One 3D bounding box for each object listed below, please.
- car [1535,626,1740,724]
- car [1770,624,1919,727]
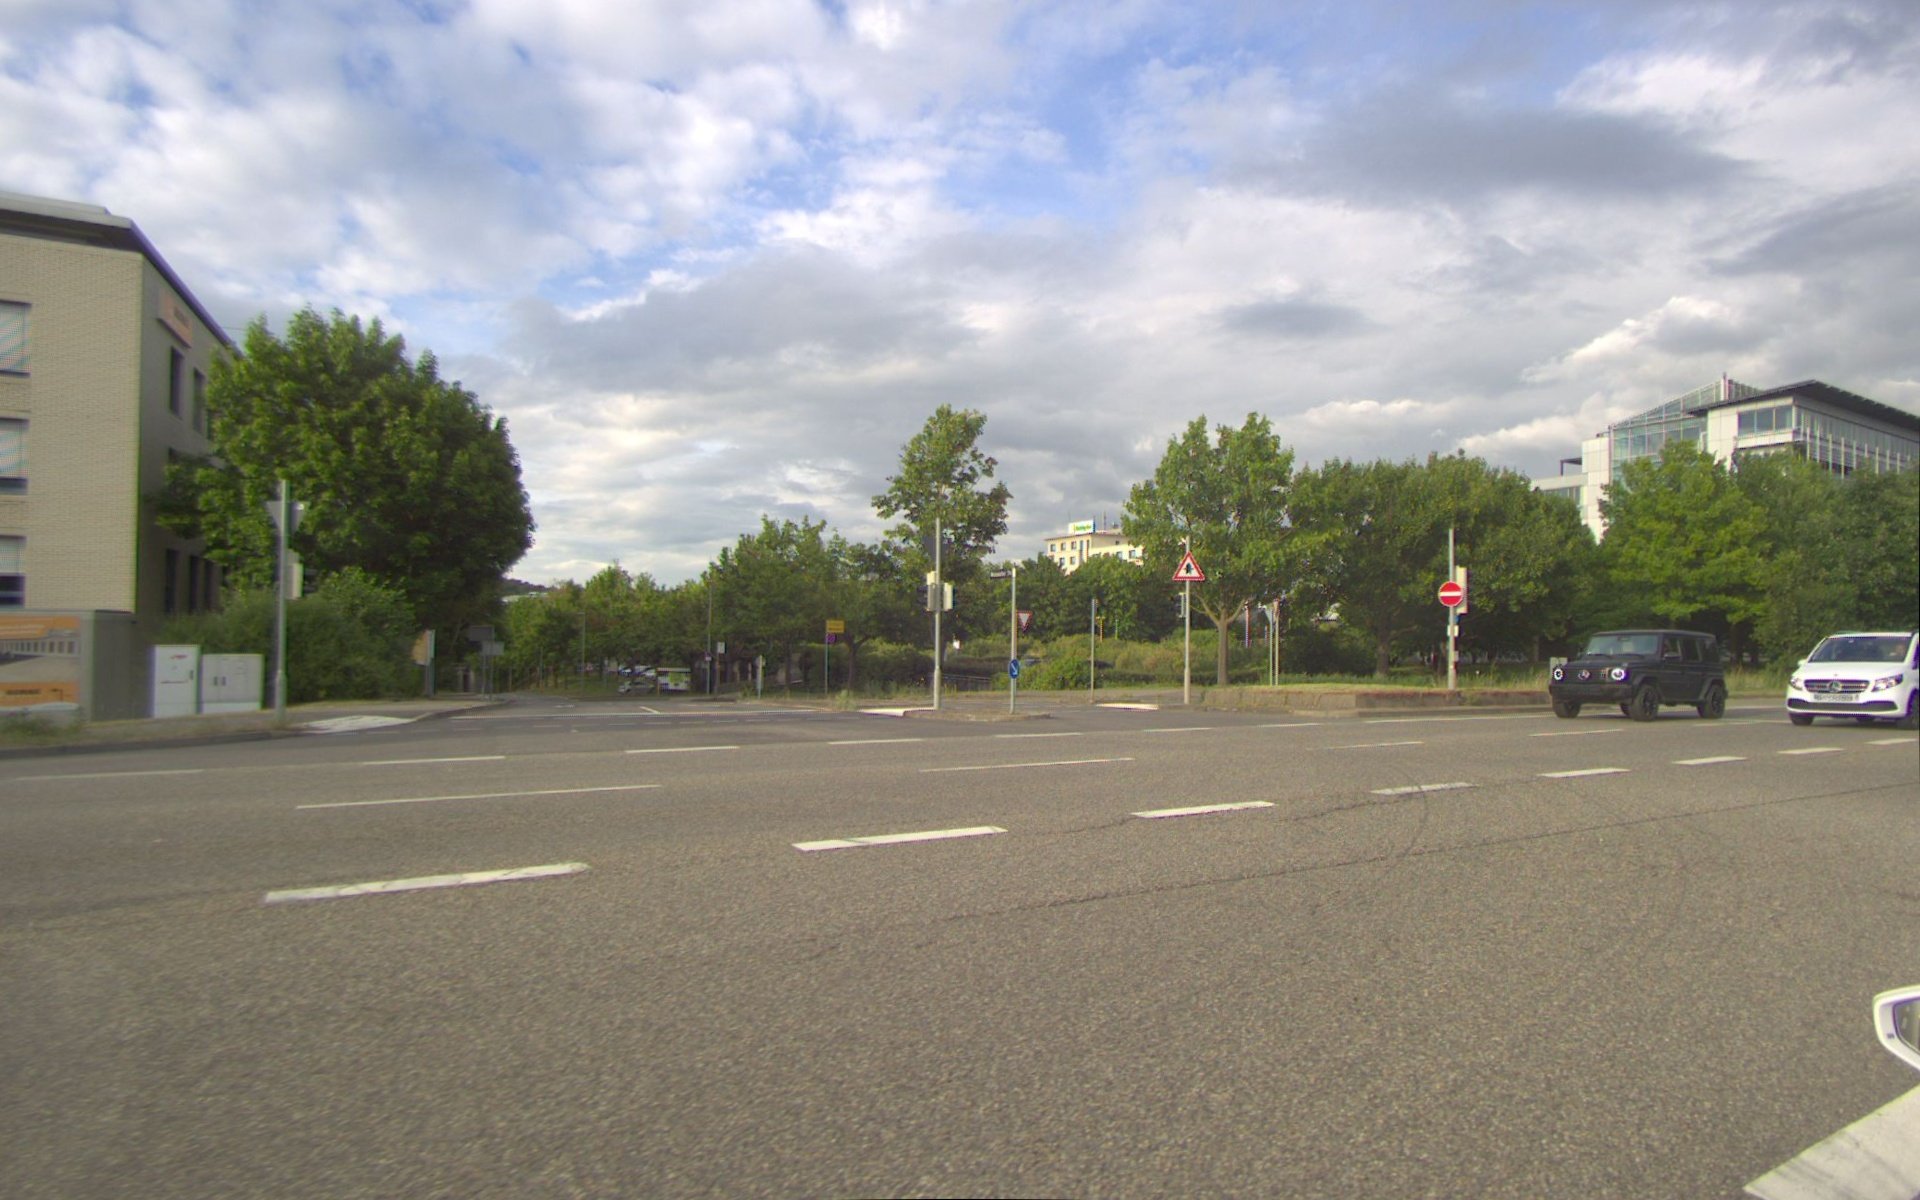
[{"bbox_3d":[15.458,1.666,22.856,5.032,2.016,1.925,2,-3,-31],"label":"car"},{"bbox_3d":[18.943,1.510,20.626,5.286,1.897,1.925,2,-3,-31],"label":"car"}]
